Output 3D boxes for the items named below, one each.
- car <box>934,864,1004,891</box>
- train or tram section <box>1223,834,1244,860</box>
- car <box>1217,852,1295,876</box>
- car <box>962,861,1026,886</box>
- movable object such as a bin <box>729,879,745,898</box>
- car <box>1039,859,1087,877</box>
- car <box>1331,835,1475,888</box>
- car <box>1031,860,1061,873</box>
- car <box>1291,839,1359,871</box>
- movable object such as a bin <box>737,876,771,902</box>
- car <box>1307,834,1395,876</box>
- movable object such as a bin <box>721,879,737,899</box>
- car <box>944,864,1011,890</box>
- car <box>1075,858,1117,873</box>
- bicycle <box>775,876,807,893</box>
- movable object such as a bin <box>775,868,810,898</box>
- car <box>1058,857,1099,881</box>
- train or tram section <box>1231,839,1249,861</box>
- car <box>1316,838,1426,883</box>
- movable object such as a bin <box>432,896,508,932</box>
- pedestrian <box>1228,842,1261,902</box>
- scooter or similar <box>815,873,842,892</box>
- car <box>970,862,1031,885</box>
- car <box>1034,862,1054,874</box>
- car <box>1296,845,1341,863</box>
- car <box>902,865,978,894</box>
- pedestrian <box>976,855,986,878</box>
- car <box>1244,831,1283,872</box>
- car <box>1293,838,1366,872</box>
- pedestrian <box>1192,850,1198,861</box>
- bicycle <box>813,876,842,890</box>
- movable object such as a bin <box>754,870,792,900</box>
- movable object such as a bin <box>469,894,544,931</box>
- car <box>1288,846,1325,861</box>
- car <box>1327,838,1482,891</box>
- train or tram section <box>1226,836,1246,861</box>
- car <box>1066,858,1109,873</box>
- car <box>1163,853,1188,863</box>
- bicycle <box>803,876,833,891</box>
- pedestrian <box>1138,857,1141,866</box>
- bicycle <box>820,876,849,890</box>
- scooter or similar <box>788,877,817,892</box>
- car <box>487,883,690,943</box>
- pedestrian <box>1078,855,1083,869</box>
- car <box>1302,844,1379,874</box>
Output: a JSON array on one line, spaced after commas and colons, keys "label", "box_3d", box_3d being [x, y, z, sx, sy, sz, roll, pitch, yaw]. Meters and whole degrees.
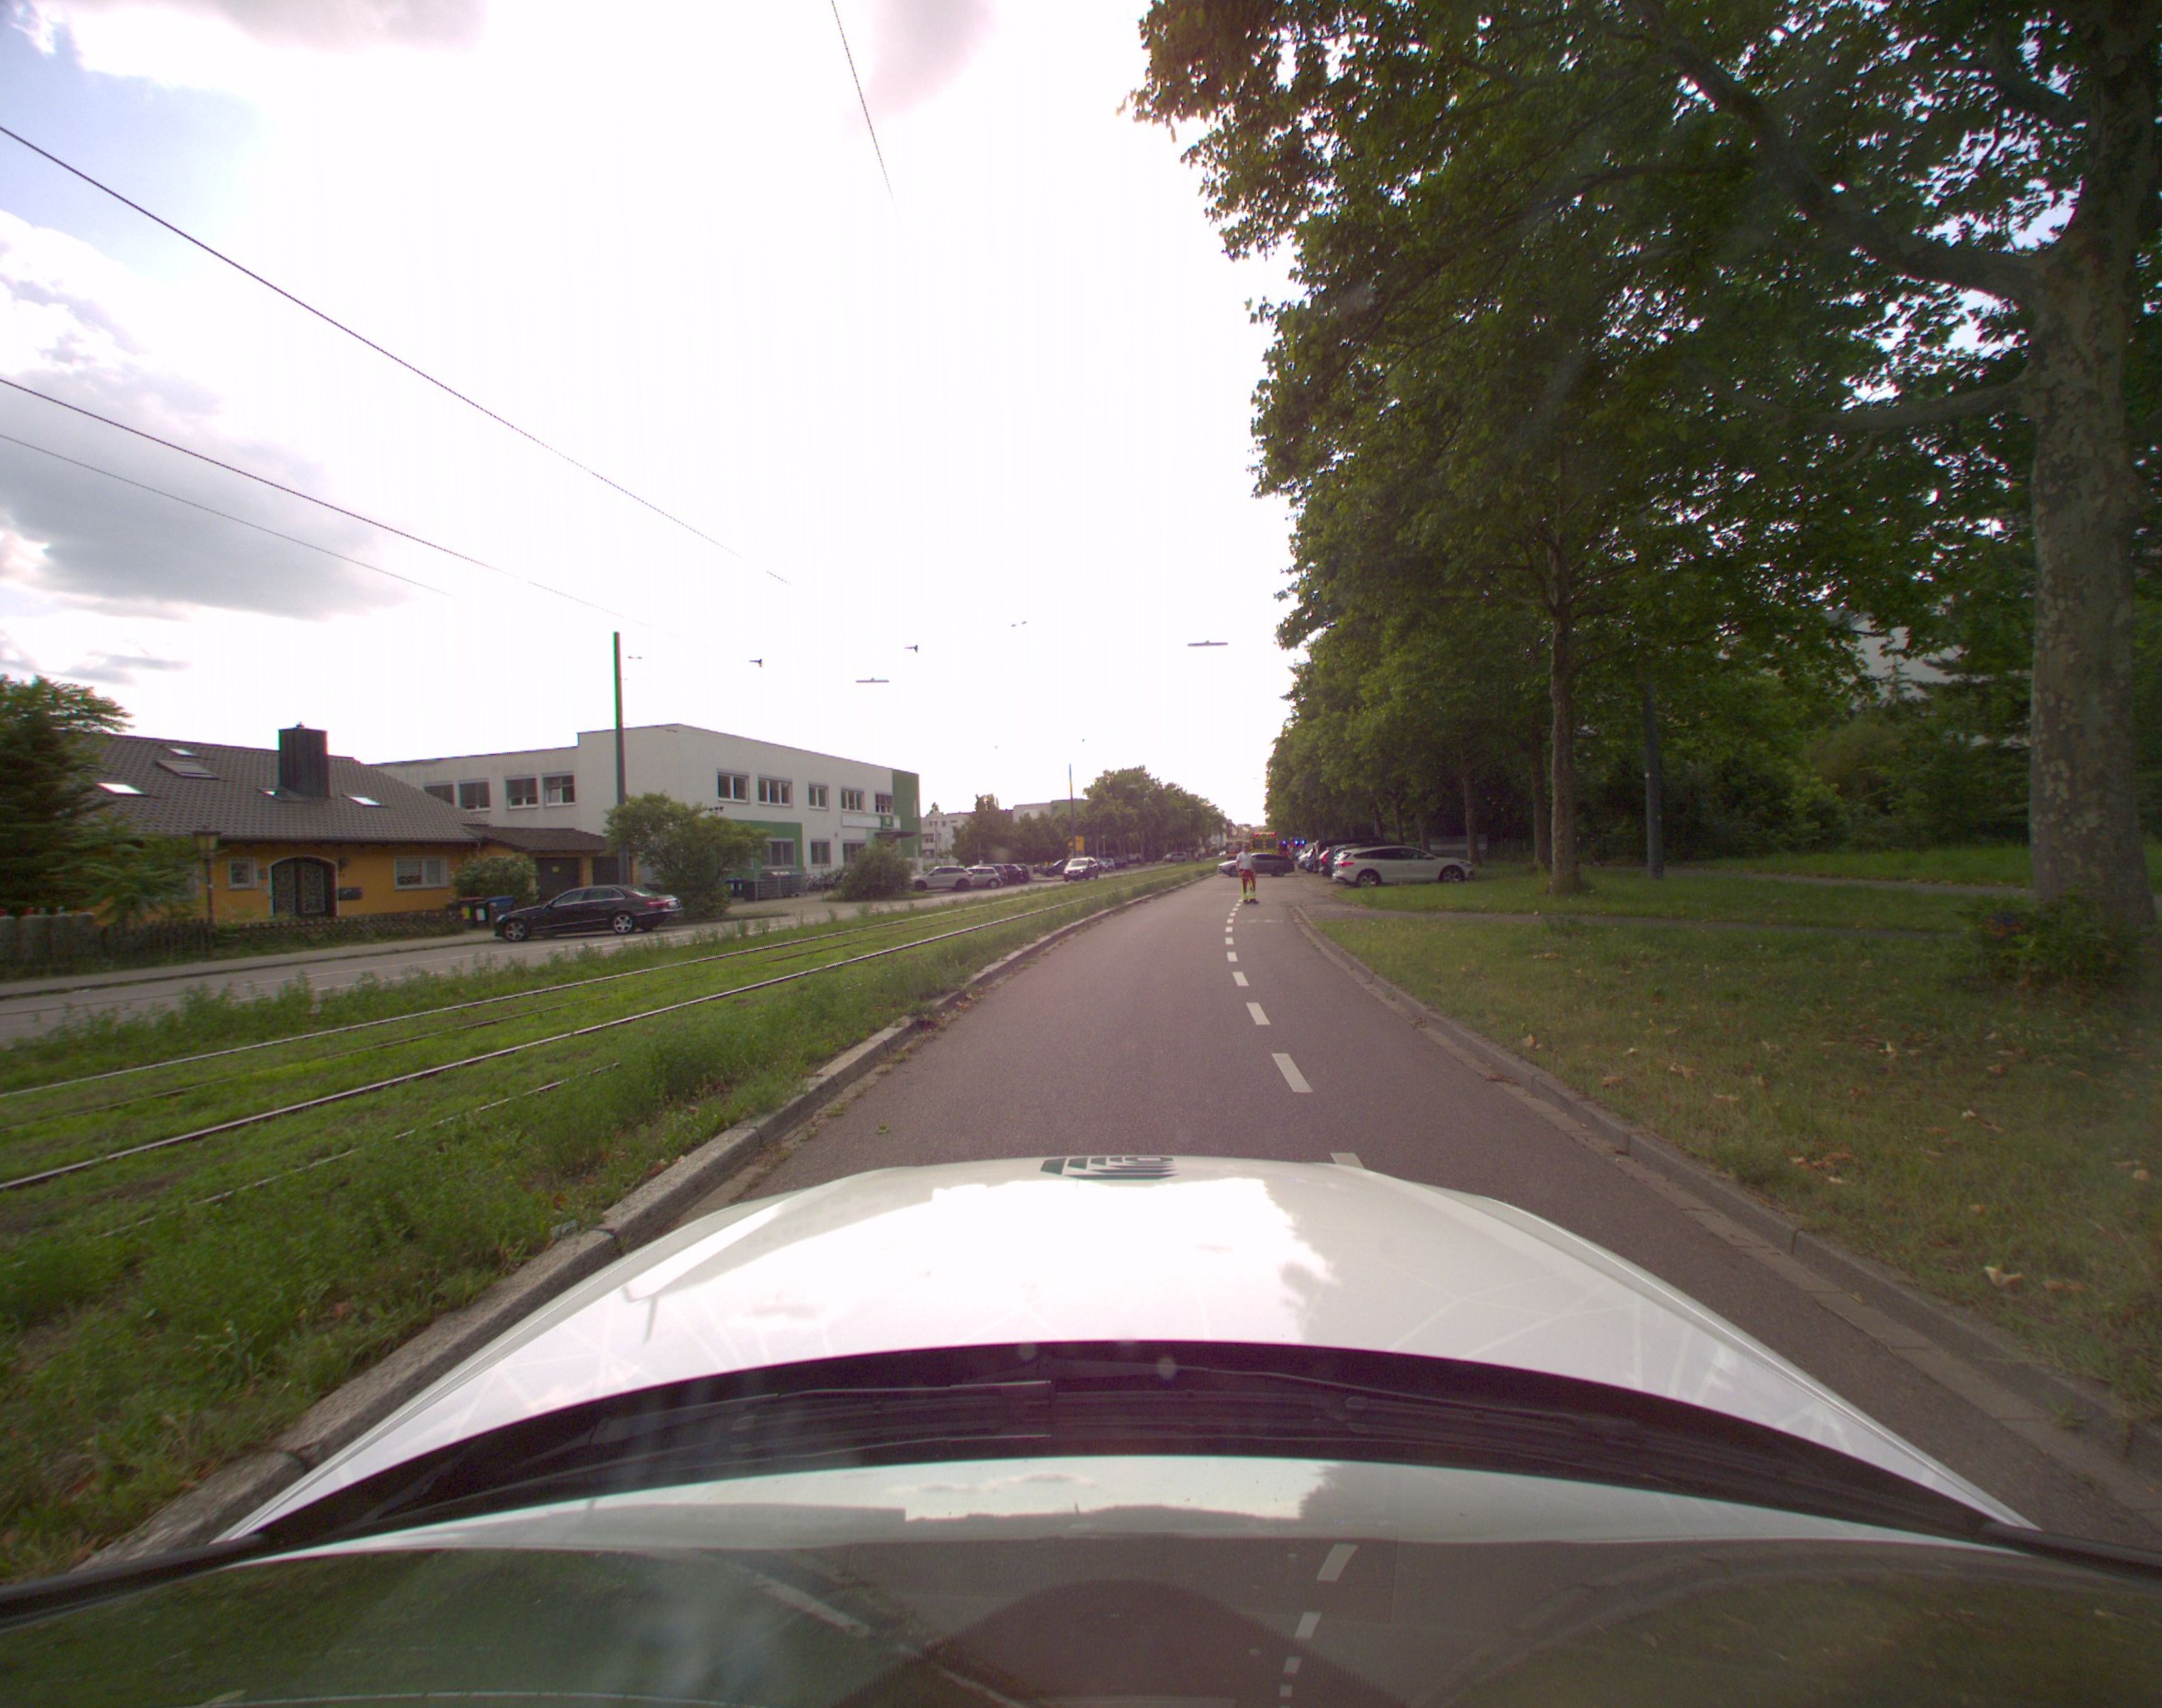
[{"label": "car", "box_3d": [-7.273, 1.521, 52.735, 4.230, 1.482, 1.873, -3, 0, -16]}, {"label": "train or tram section", "box_3d": [22.434, -0.933, 119.421, 2.494, 3.584, 7.472, -4, -2, 13]}, {"label": "car", "box_3d": [10.728, 0.614, 50.170, 4.436, 1.385, 1.768, -1, 0, 2]}, {"label": "car", "box_3d": [-6.248, 1.381, 58.457, 4.230, 1.482, 1.873, -3, 0, -16]}, {"label": "movable object such as a bin", "box_3d": [-18.984, 1.891, 44.928, 0.564, 1.042, 0.566, -1, 1, 14]}, {"label": "car", "box_3d": [-1.688, 1.300, 75.446, 4.223, 1.482, 1.876, -1, -1, -11]}, {"label": "car", "box_3d": [11.815, 0.271, 30.192, 4.629, 1.626, 1.853, -4, 0, 10]}, {"label": "car", "box_3d": [-4.786, 1.666, 110.910, 2.012, 1.750, 3.950, -1, 0, -45]}, {"label": "car", "box_3d": [17.969, 0.073, 60.084, 4.518, 2.043, 1.861, -4, -1, 10]}, {"label": "movable object such as a bin", "box_3d": [-16.640, 1.773, 41.445, 0.998, 1.234, 1.262, -1, 1, 16]}, {"label": "car", "box_3d": [15.419, 0.078, 46.726, 4.514, 2.123, 1.862, -4, -1, 13]}, {"label": "movable object such as a bin", "box_3d": [-19.144, 1.903, 44.281, 0.564, 1.042, 0.566, -1, 1, 14]}, {"label": "car", "box_3d": [-7.052, 1.546, 55.465, 4.230, 1.482, 1.873, -3, 0, -16]}, {"label": "car", "box_3d": [1.673, 1.273, 91.224, 4.238, 1.482, 1.869, -1, -1, -22]}, {"label": "bicycle", "box_3d": [-17.403, 1.841, 48.936, 1.844, 0.986, 0.460, -1, -1, 14]}, {"label": "movable object such as a bin", "box_3d": [-15.772, 1.586, 44.573, 0.998, 1.519, 1.611, -1, 1, 16]}, {"label": "car", "box_3d": [-0.152, 1.093, 60.322, 1.980, 1.557, 4.385, -4, -1, 13]}, {"label": "train or tram section", "box_3d": [27.669, -0.699, 141.153, 2.494, 3.584, 7.472, -4, -2, 13]}, {"label": "car", "box_3d": [12.523, 0.280, 35.455, 4.348, 1.639, 1.763, -4, -1, 15]}, {"label": "movable object such as a bin", "box_3d": [-20.985, 2.045, 28.024, 1.245, 1.092, 1.624, -3, 0, 13]}, {"label": "pedestrian", "box_3d": [4.704, 0.515, 23.446, 0.799, 1.686, 0.852, -2, -1, 5]}, {"label": "scooter or similar", "box_3d": [-15.557, 1.754, 50.231, 1.290, 1.156, 1.101, -2, -1, 43]}, {"label": "car", "box_3d": [-6.087, 1.485, 61.521, 4.230, 1.482, 1.873, -3, 0, -16]}, {"label": "car", "box_3d": [-5.751, 2.113, 126.060, 1.979, 1.750, 4.015, -1, 0, 14]}, {"label": "car", "box_3d": [26.036, 0.021, 89.310, 4.518, 1.608, 1.861, -4, -1, 10]}, {"label": "car", "box_3d": [-8.611, 1.526, 49.693, 4.237, 1.482, 1.870, -3, 0, -21]}, {"label": "pedestrian", "box_3d": [-8.000, 1.015, 65.229, 0.542, 1.828, 0.510, -3, -1, 12]}, {"label": "car", "box_3d": [14.227, -0.177, 63.075, 2.622, 2.966, 6.325, 0, 0, 15]}, {"label": "car", "box_3d": [16.913, 0.095, 55.594, 4.518, 2.001, 1.861, -4, -1, 10]}, {"label": "pedestrian", "box_3d": [16.275, 0.191, 116.321, 0.874, 1.525, 0.753, -1, -1, 13]}, {"label": "bicycle", "box_3d": [-16.516, 1.886, 53.021, 1.844, 0.899, 0.460, -1, -1, 14]}, {"label": "movable object such as a bin", "box_3d": [-16.224, 1.627, 42.931, 0.998, 1.519, 1.719, -1, 1, 16]}, {"label": "movable object such as a bin", "box_3d": [-19.553, 1.972, 27.764, 1.245, 1.101, 1.624, -3, 0, 13]}, {"label": "car", "box_3d": [29.609, -0.040, 107.122, 4.518, 1.608, 1.861, -4, -1, 10]}, {"label": "car", "box_3d": [11.023, 0.362, 28.069, 4.629, 1.473, 1.853, -4, 0, 10]}, {"label": "train or tram section", "box_3d": [24.173, -0.855, 126.674, 2.494, 3.584, 7.472, -4, -2, 13]}, {"label": "car", "box_3d": [0.709, 1.280, 88.327, 4.238, 1.482, 1.869, -1, -1, -22]}, {"label": "car", "box_3d": [18.773, 0.779, 162.209, 4.636, 1.633, 1.867, -3, -1, -26]}, {"label": "bicycle", "box_3d": [-16.769, 1.874, 51.900, 1.844, 0.899, 0.460, -1, -1, 14]}, {"label": "pedestrian", "box_3d": [9.852, 1.246, 137.206, 0.419, 1.473, 0.469, -3, -1, 9]}, {"label": "bicycle", "box_3d": [-16.288, 1.895, 53.896, 1.844, 0.899, 0.460, -1, -1, 14]}, {"label": "scooter or similar", "box_3d": [-17.262, 1.875, 50.443, 1.723, 0.899, 0.460, -1, -1, 14]}, {"label": "car", "box_3d": [-14.157, 1.658, 23.656, 4.630, 1.407, 1.879, -3, -2, -6]}, {"label": "pedestrian", "box_3d": [-0.039, 1.023, 103.466, 0.463, 1.676, 0.605, -3, -1, 12]}, {"label": "car", "box_3d": [16.826, 0.323, 52.996, 4.519, 1.660, 1.860, -4, -1, 9]}]
